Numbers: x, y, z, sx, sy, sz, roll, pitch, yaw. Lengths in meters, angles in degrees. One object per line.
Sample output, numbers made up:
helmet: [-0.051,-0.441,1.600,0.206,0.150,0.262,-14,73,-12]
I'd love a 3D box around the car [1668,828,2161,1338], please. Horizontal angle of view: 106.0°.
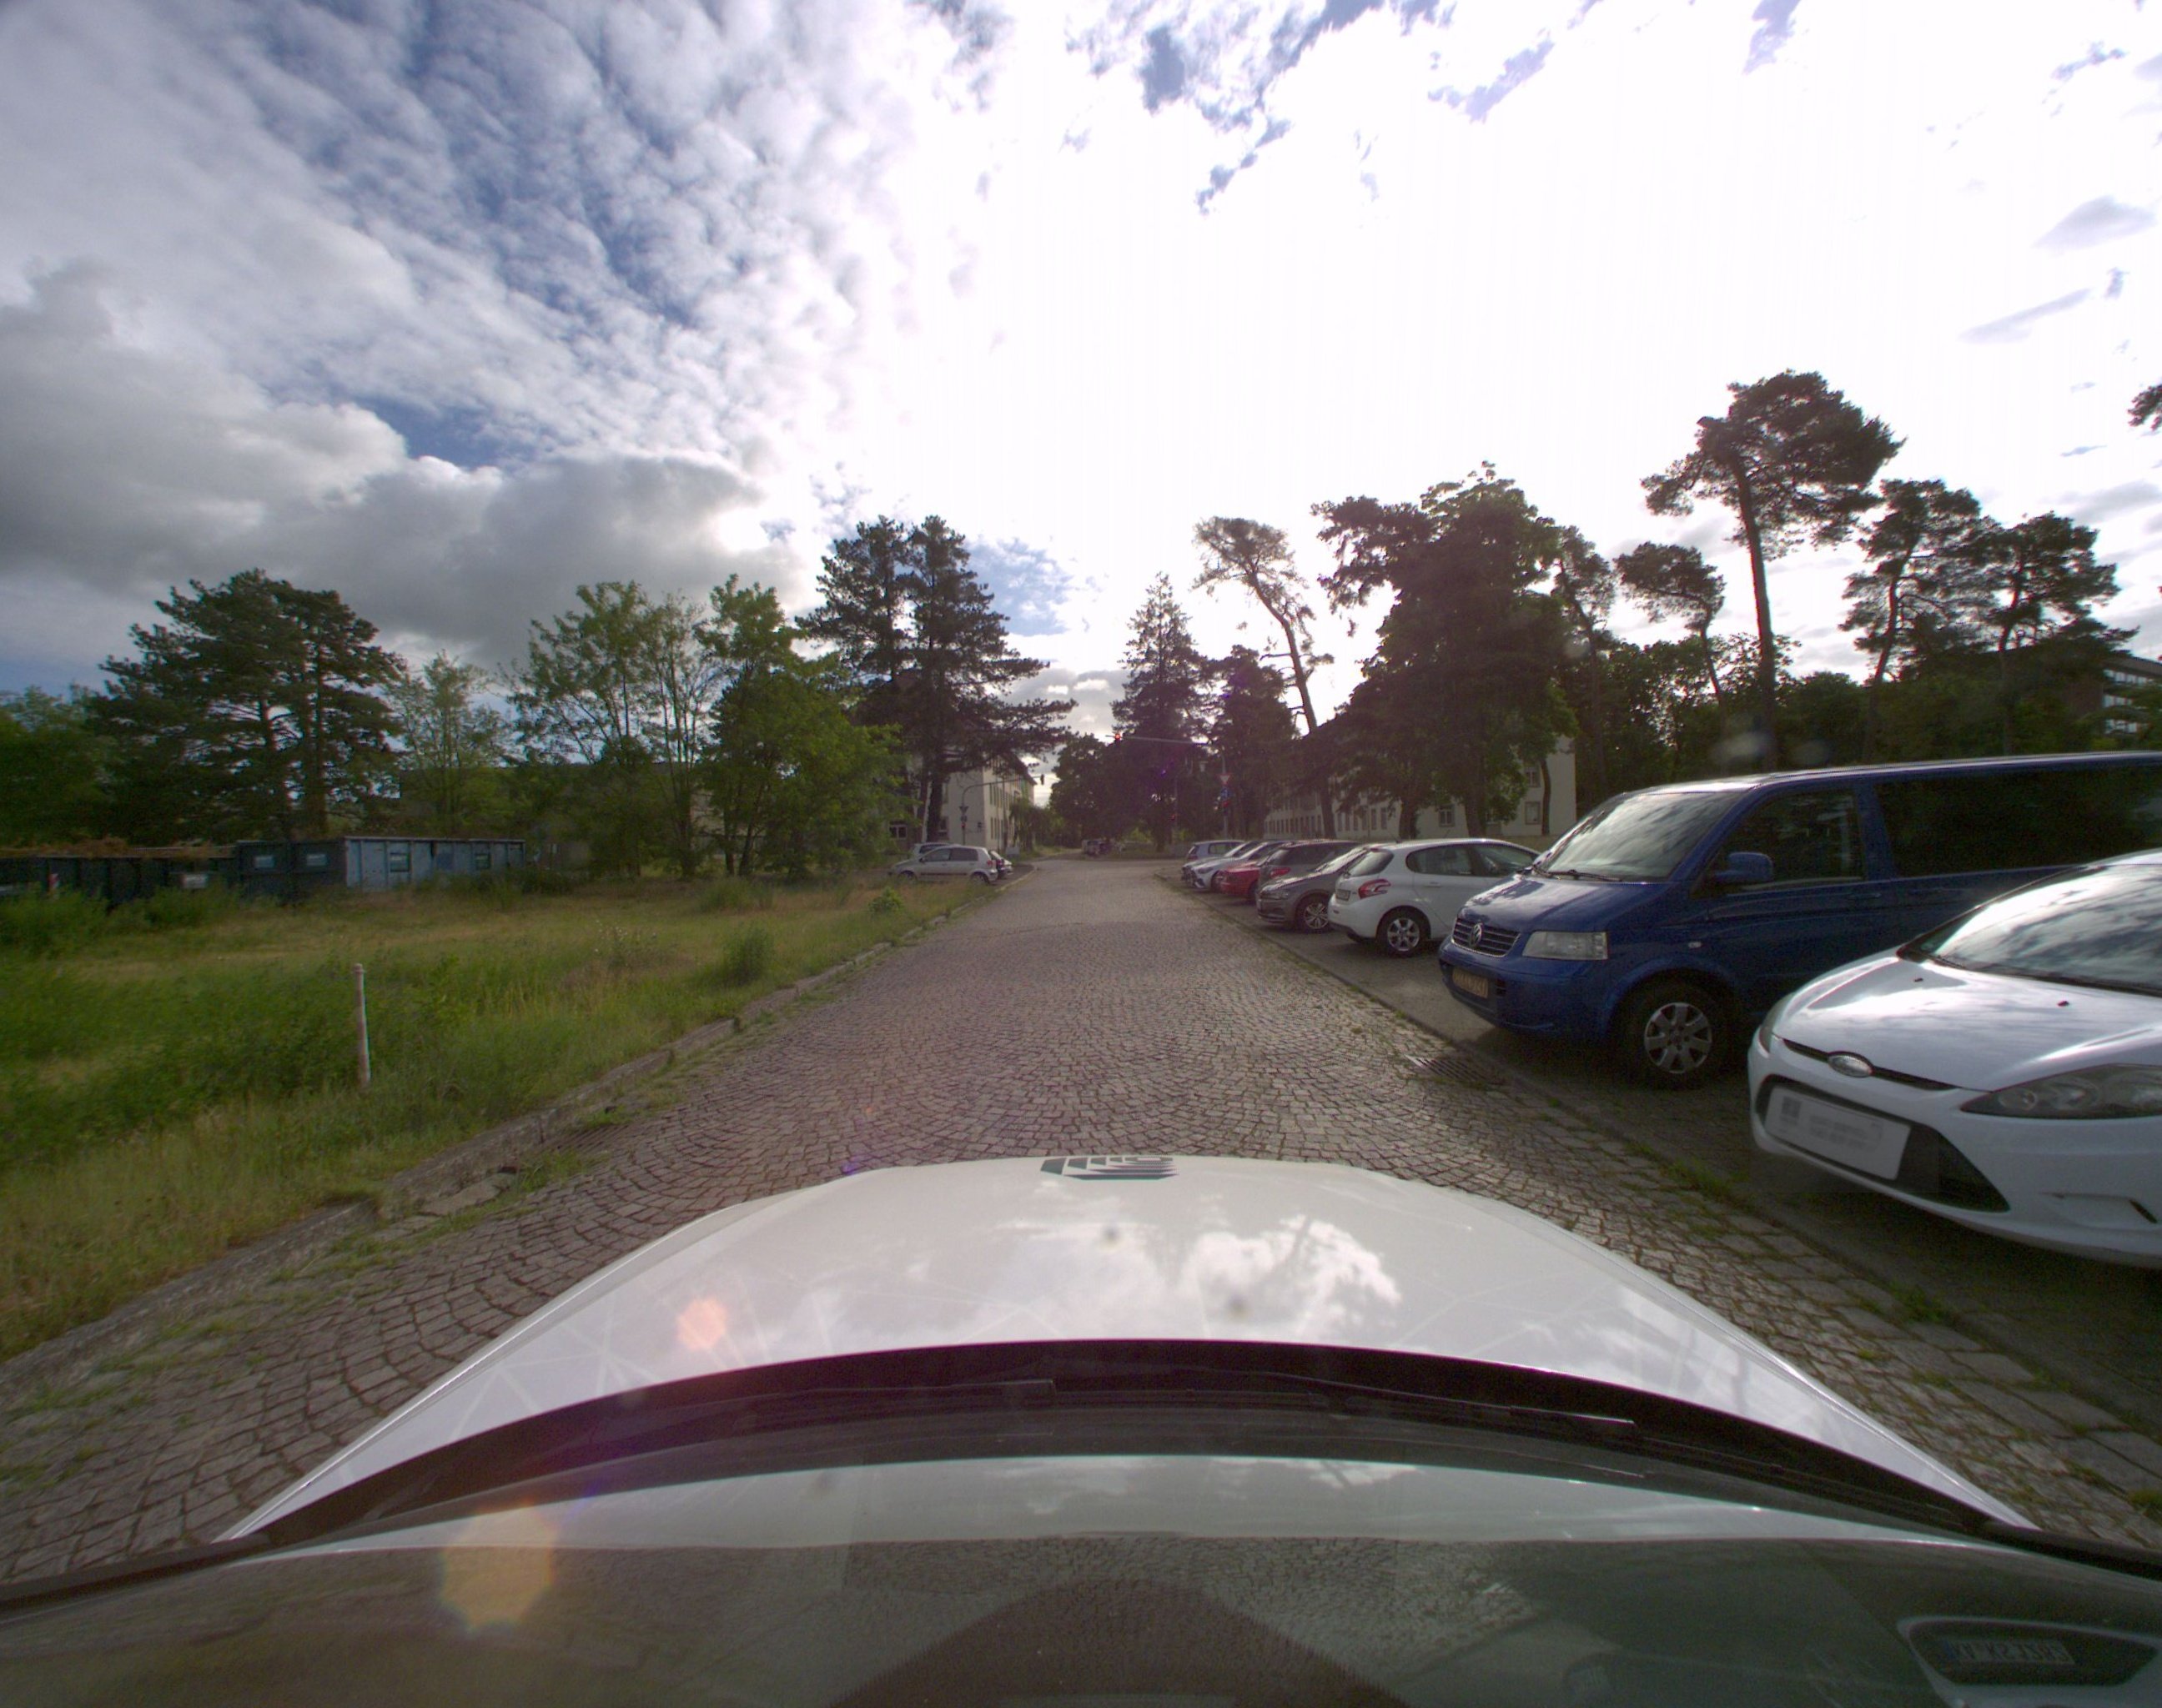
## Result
car: [4.847,0.630,3.342,3.713,1.424,1.653,-3,1,-2]

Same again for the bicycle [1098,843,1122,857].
bicycle: [2.807,-0.418,79.204,2.158,1.268,0.811,-1,1,-6]

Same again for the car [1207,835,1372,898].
car: [5.576,0.304,22.019,3.981,1.543,1.661,-1,1,-6]

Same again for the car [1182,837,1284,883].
car: [5.490,0.195,29.638,3.384,1.543,1.388,-2,1,-6]

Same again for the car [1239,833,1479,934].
car: [4.763,0.454,14.179,3.598,1.506,1.658,-2,1,-10]

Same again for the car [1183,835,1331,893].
car: [5.172,0.263,24.251,3.981,1.543,1.661,-2,1,-6]

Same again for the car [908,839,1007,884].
car: [-5.138,0.290,34.302,3.983,1.749,1.923,-1,1,-7]

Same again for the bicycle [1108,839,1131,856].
bicycle: [3.741,-0.601,79.912,2.158,1.615,0.811,-1,1,-6]

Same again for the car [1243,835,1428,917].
car: [5.271,0.411,17.058,3.293,1.504,1.658,-2,1,-10]

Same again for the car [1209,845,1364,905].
car: [4.930,0.477,19.774,3.287,1.267,1.661,-2,1,-6]

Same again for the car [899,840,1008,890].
car: [-4.820,0.384,31.324,3.981,1.705,1.996,-2,1,-6]

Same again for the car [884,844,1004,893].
car: [-4.754,0.485,28.830,3.981,1.552,1.996,-2,1,-6]

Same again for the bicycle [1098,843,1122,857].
bicycle: [2.803,-0.416,78.616,2.158,1.268,0.811,-1,1,-6]

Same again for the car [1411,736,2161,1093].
car: [5.082,0.332,5.783,4.768,2.039,1.738,-2,1,-1]

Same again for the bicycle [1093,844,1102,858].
bicycle: [1.505,-0.296,74.858,0.807,1.268,1.974,-1,1,2]

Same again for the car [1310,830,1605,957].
car: [5.051,0.485,11.215,3.283,1.504,1.663,-2,1,-2]

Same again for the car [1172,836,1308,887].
car: [5.229,0.222,27.067,4.116,1.543,1.661,-2,1,-6]

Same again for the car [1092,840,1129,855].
car: [3.383,-0.730,93.162,3.981,1.644,1.996,-1,1,-6]

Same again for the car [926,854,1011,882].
car: [-4.980,0.600,36.534,3.666,1.093,1.643,-2,1,-6]

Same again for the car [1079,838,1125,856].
car: [2.461,-0.865,96.438,5.051,2.013,1.993,-1,1,-10]

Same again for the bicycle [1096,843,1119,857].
bicycle: [2.587,-0.419,80.417,2.158,1.268,0.811,-1,1,-6]
